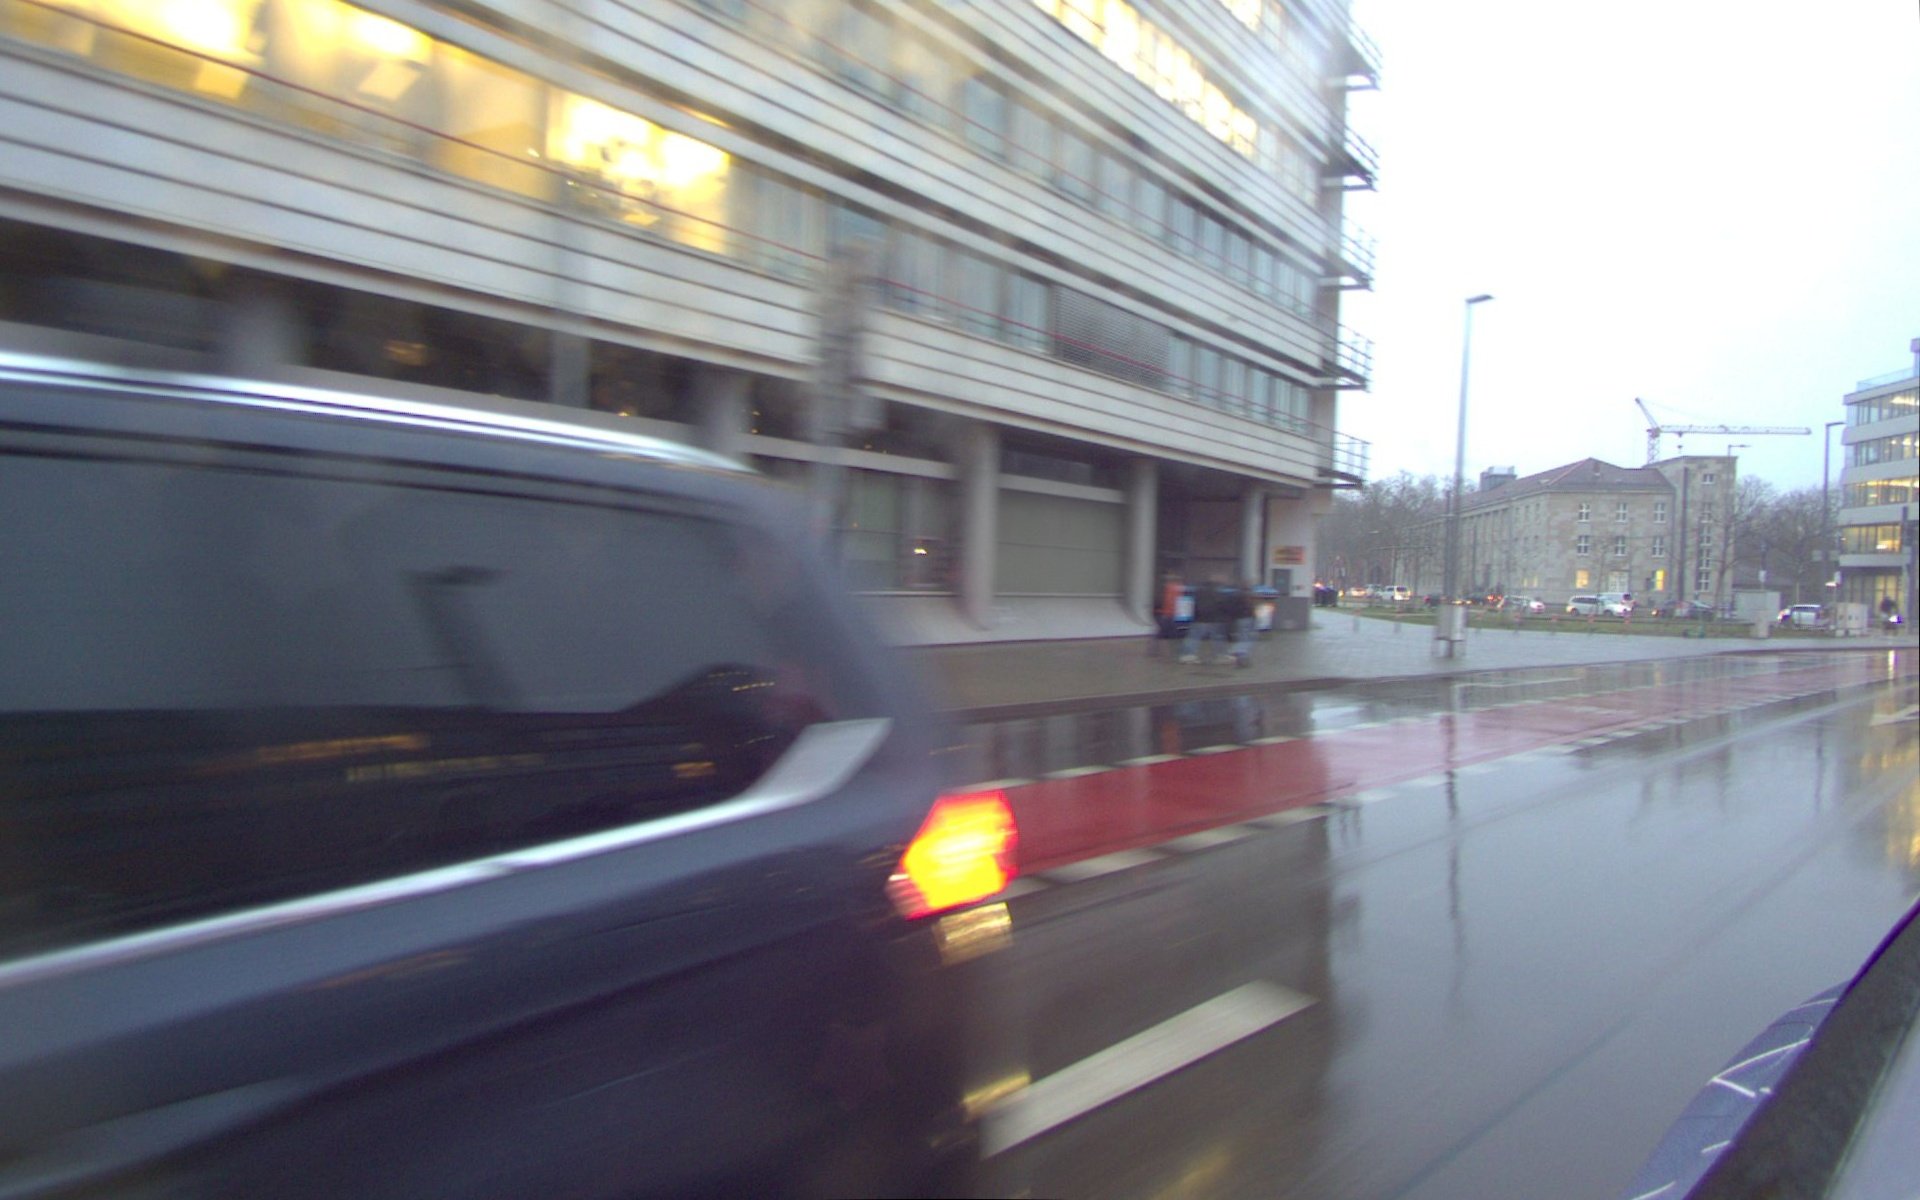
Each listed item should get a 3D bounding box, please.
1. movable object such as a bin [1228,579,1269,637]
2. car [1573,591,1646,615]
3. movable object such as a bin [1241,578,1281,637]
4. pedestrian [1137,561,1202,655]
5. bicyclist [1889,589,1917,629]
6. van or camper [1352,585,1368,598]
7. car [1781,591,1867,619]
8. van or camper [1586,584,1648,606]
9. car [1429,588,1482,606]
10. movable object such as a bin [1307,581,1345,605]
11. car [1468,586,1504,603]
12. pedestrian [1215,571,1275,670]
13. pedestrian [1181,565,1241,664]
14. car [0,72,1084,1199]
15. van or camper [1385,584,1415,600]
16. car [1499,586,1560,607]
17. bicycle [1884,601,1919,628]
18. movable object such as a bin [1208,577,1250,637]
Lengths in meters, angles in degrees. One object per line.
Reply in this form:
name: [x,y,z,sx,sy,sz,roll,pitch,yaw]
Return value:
movable object such as a bin: [7.319,0.188,25.704,0.664,1.446,0.827,2,1,44]
car: [50.804,0.222,79.224,1.959,1.782,4.385,1,1,-27]
movable object such as a bin: [7.863,0.189,26.461,0.664,1.495,0.827,2,1,44]
pedestrian: [4.065,0.142,19.636,0.746,1.722,0.954,6,4,43]
bicyclist: [44.852,0.421,48.120,0.664,1.820,0.801,2,1,22]
van or camper: [56.012,-1.177,141.655,1.785,1.720,3.816,2,1,17]
car: [56.826,0.309,66.609,1.744,1.730,3.931,1,1,-29]
van or camper: [59.711,-0.466,92.013,1.958,1.873,4.387,1,1,-22]
car: [45.347,-0.270,92.671,1.959,1.523,4.012,1,1,-27]
movable object such as a bin: [28.437,-0.557,78.702,2.660,1.766,2.536,2,1,20]
car: [54.785,-0.617,105.414,1.567,1.702,3.274,1,1,-12]
pedestrian: [5.070,0.344,18.009,0.615,1.689,0.871,4,3,43]
pedestrian: [4.586,0.252,18.488,0.649,1.723,0.871,5,3,43]
car: [-2.133,0.485,0.851,4.590,1.834,1.886,0,0,-41]
van or camper: [53.081,-0.976,122.079,1.774,1.720,3.840,1,1,-3]
car: [48.109,-0.294,85.555,1.959,1.693,4.012,1,1,-27]
bicycle: [44.887,0.700,48.223,0.674,1.213,1.747,2,1,23]
movable object such as a bin: [6.683,0.170,25.093,0.664,1.446,0.827,2,1,44]
